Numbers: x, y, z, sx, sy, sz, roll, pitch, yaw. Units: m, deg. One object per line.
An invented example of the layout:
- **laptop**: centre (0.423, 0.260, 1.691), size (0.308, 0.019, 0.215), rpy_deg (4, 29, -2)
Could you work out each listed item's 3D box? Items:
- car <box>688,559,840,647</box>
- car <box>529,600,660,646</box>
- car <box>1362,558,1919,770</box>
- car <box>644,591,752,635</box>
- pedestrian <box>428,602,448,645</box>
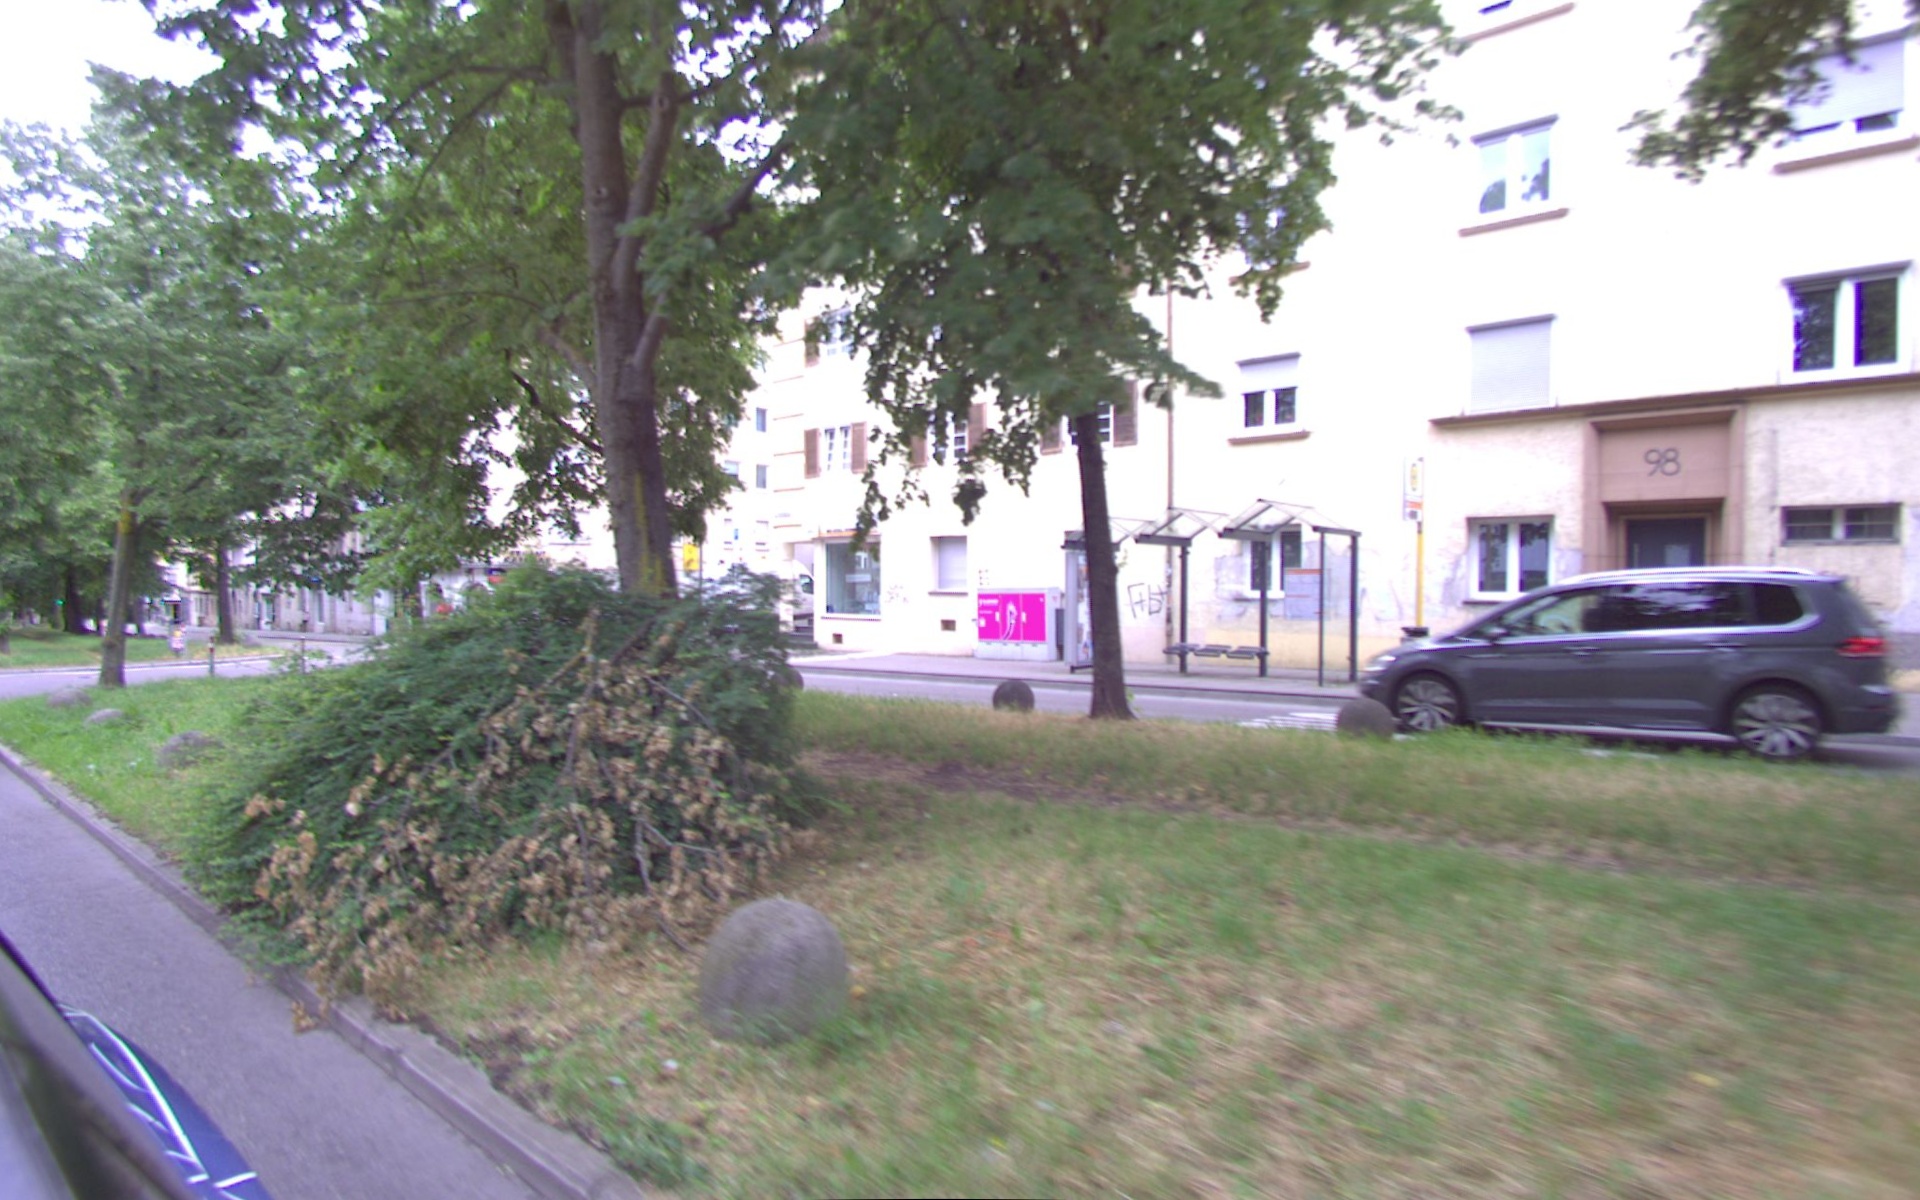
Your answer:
- **car**: centre (-6.520, 0.055, 34.337), size (2.169, 2.757, 5.136), rpy_deg (-1, 1, 30)
- **car**: centre (-14.061, 0.873, 39.100), size (2.048, 1.430, 4.241), rpy_deg (-2, 2, 44)
- **car**: centre (6.470, 0.540, 9.892), size (4.361, 1.641, 1.929), rpy_deg (-1, -2, 40)
- **car**: centre (-10.959, 0.509, 42.539), size (1.997, 1.430, 3.951), rpy_deg (-1, 5, 38)
- **pedestrian**: centre (-20.887, 0.945, 40.500), size (0.701, 1.679, 0.526), rpy_deg (-1, -1, 44)
